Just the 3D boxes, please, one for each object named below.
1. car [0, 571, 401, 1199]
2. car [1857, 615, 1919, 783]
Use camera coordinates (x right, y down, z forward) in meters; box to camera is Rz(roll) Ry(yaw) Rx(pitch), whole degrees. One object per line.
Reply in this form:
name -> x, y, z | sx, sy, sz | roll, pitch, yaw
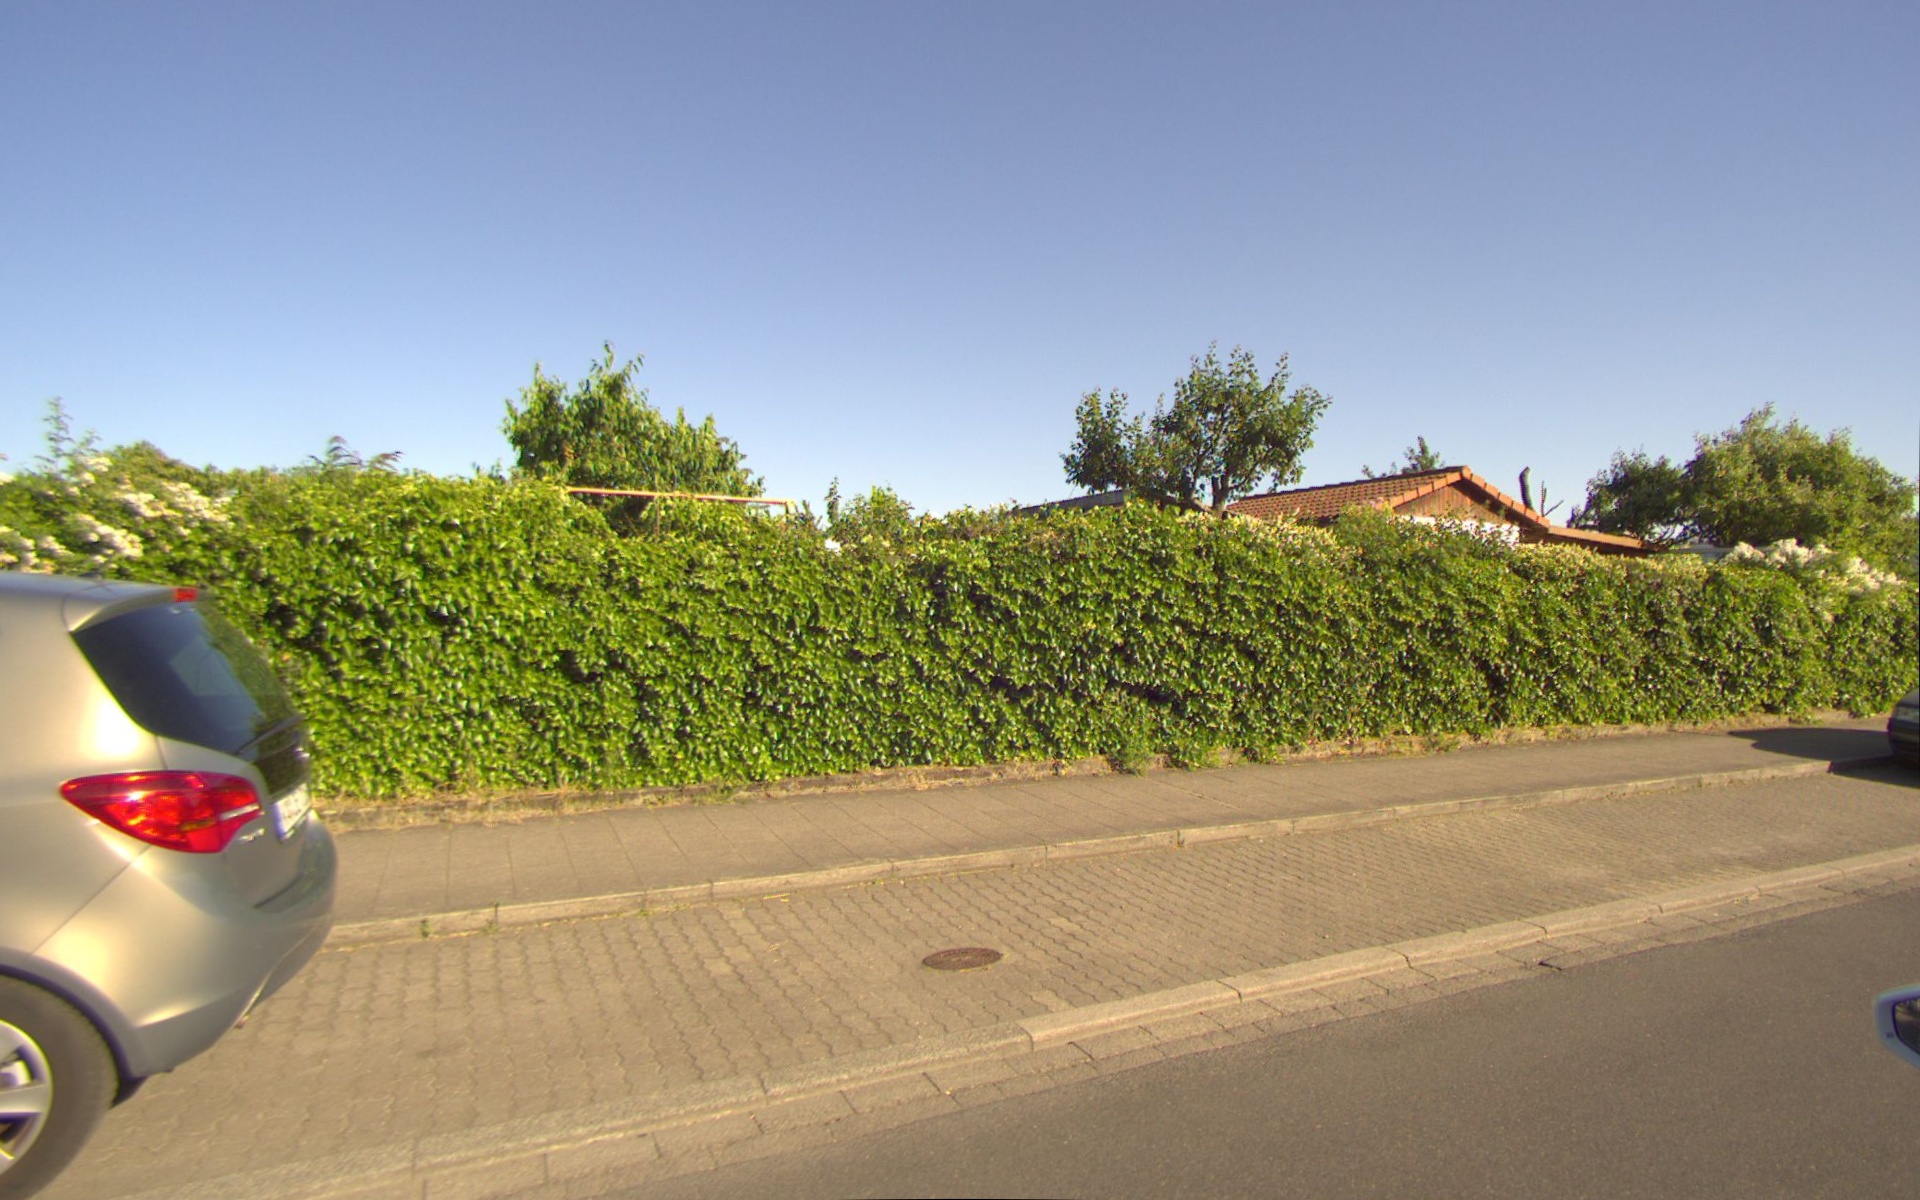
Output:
car -> -3.933, 0.709, 2.531 | 4.252, 1.621, 1.639 | 1, 1, -25
car -> 11.377, 1.034, 10.327 | 4.360, 1.577, 1.637 | 1, 4, -27
